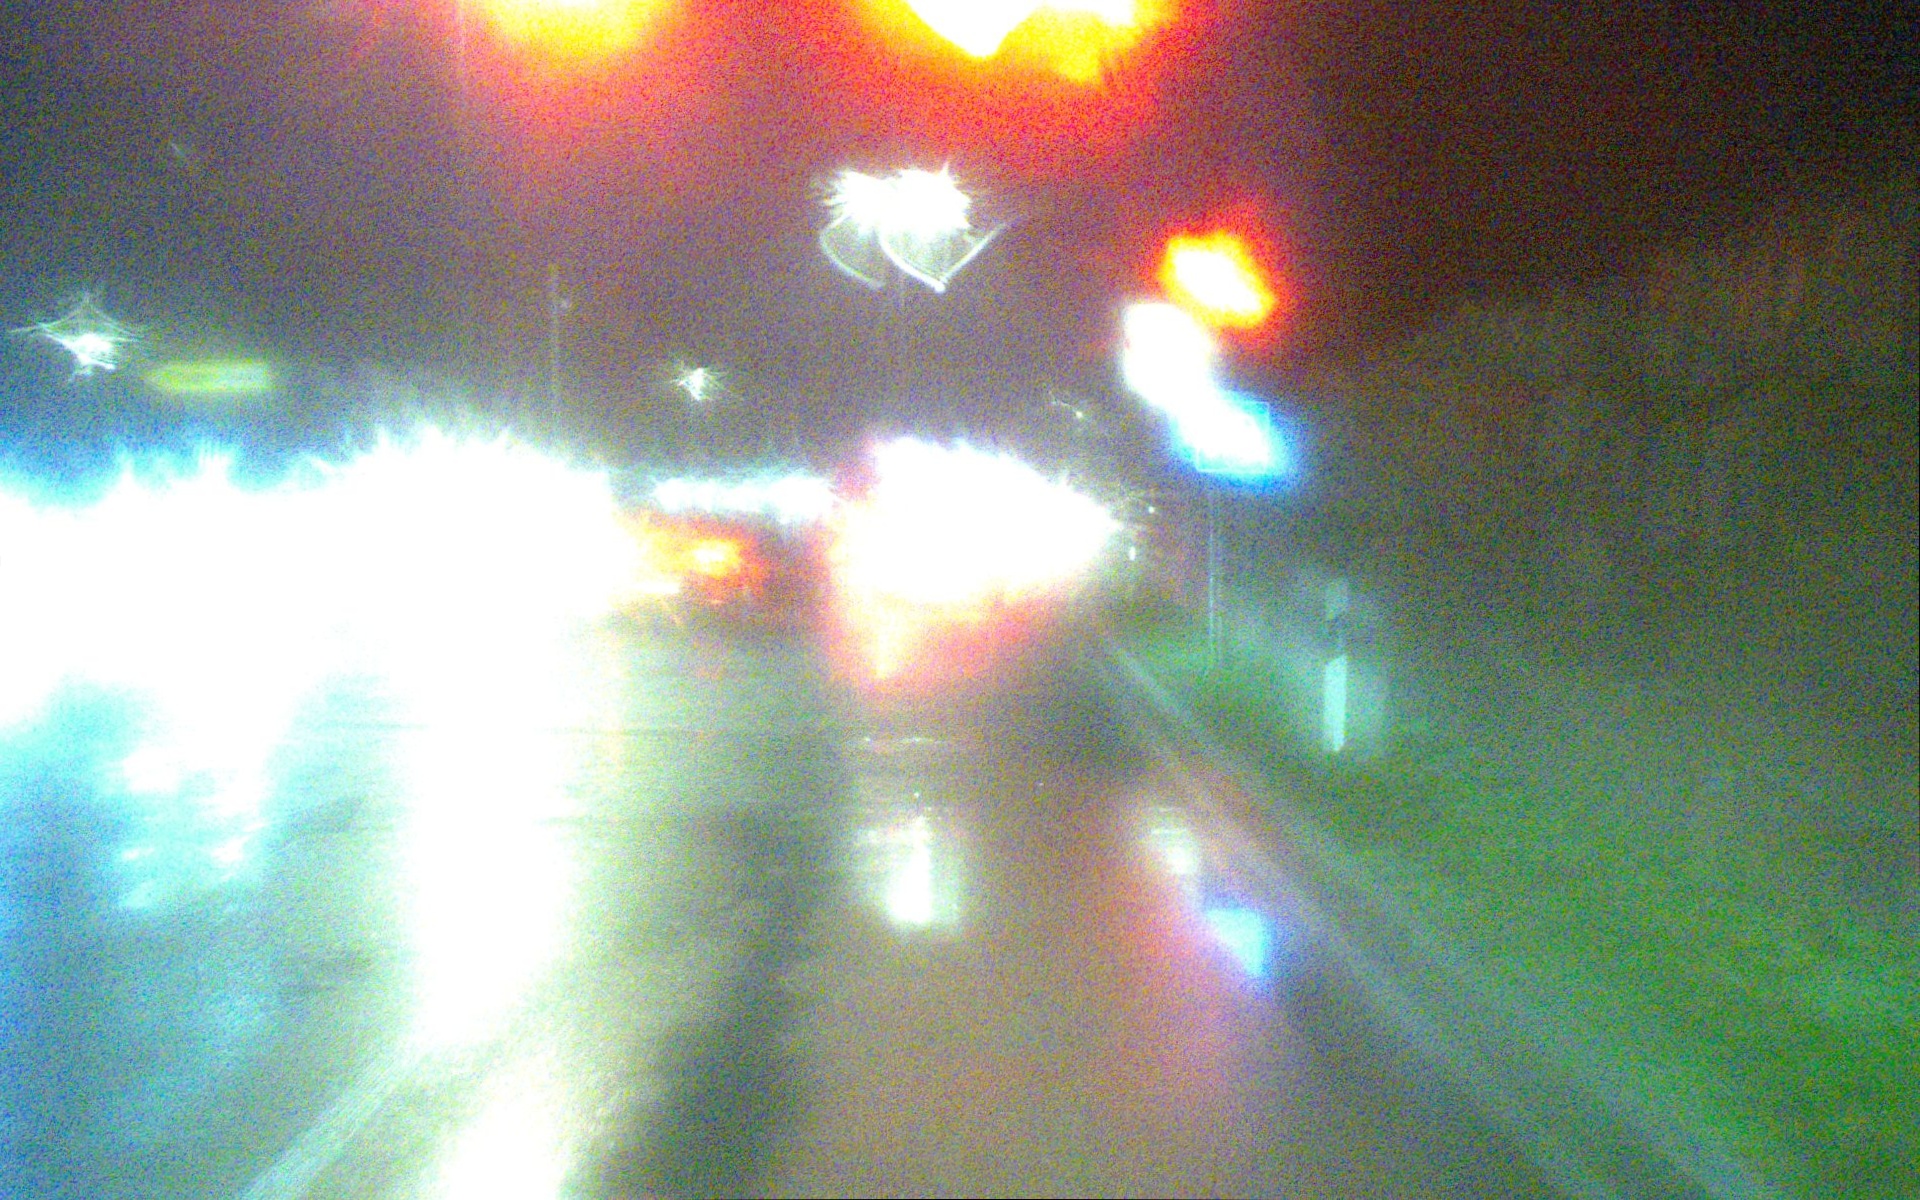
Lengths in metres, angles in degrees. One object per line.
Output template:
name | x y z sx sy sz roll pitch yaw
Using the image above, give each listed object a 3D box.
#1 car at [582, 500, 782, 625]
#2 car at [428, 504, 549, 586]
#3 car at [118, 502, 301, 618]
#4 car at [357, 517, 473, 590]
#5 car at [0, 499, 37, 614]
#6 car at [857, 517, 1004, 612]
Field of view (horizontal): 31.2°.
car | -3.369 -0.461 42.351 2.103 1.434 4.000 1 1 0
car | -9.071 -1.055 66.366 1.585 1.520 3.651 1 1 4
car | -10.721 -0.609 49.407 1.698 1.566 4.712 1 1 -1
car | -11.865 -1.004 75.017 1.993 1.525 4.000 1 1 -2
car | -13.947 -0.586 46.053 1.792 1.566 4.914 1 1 1
car | -0.415 -0.532 51.716 2.107 1.335 4.294 1 1 0
